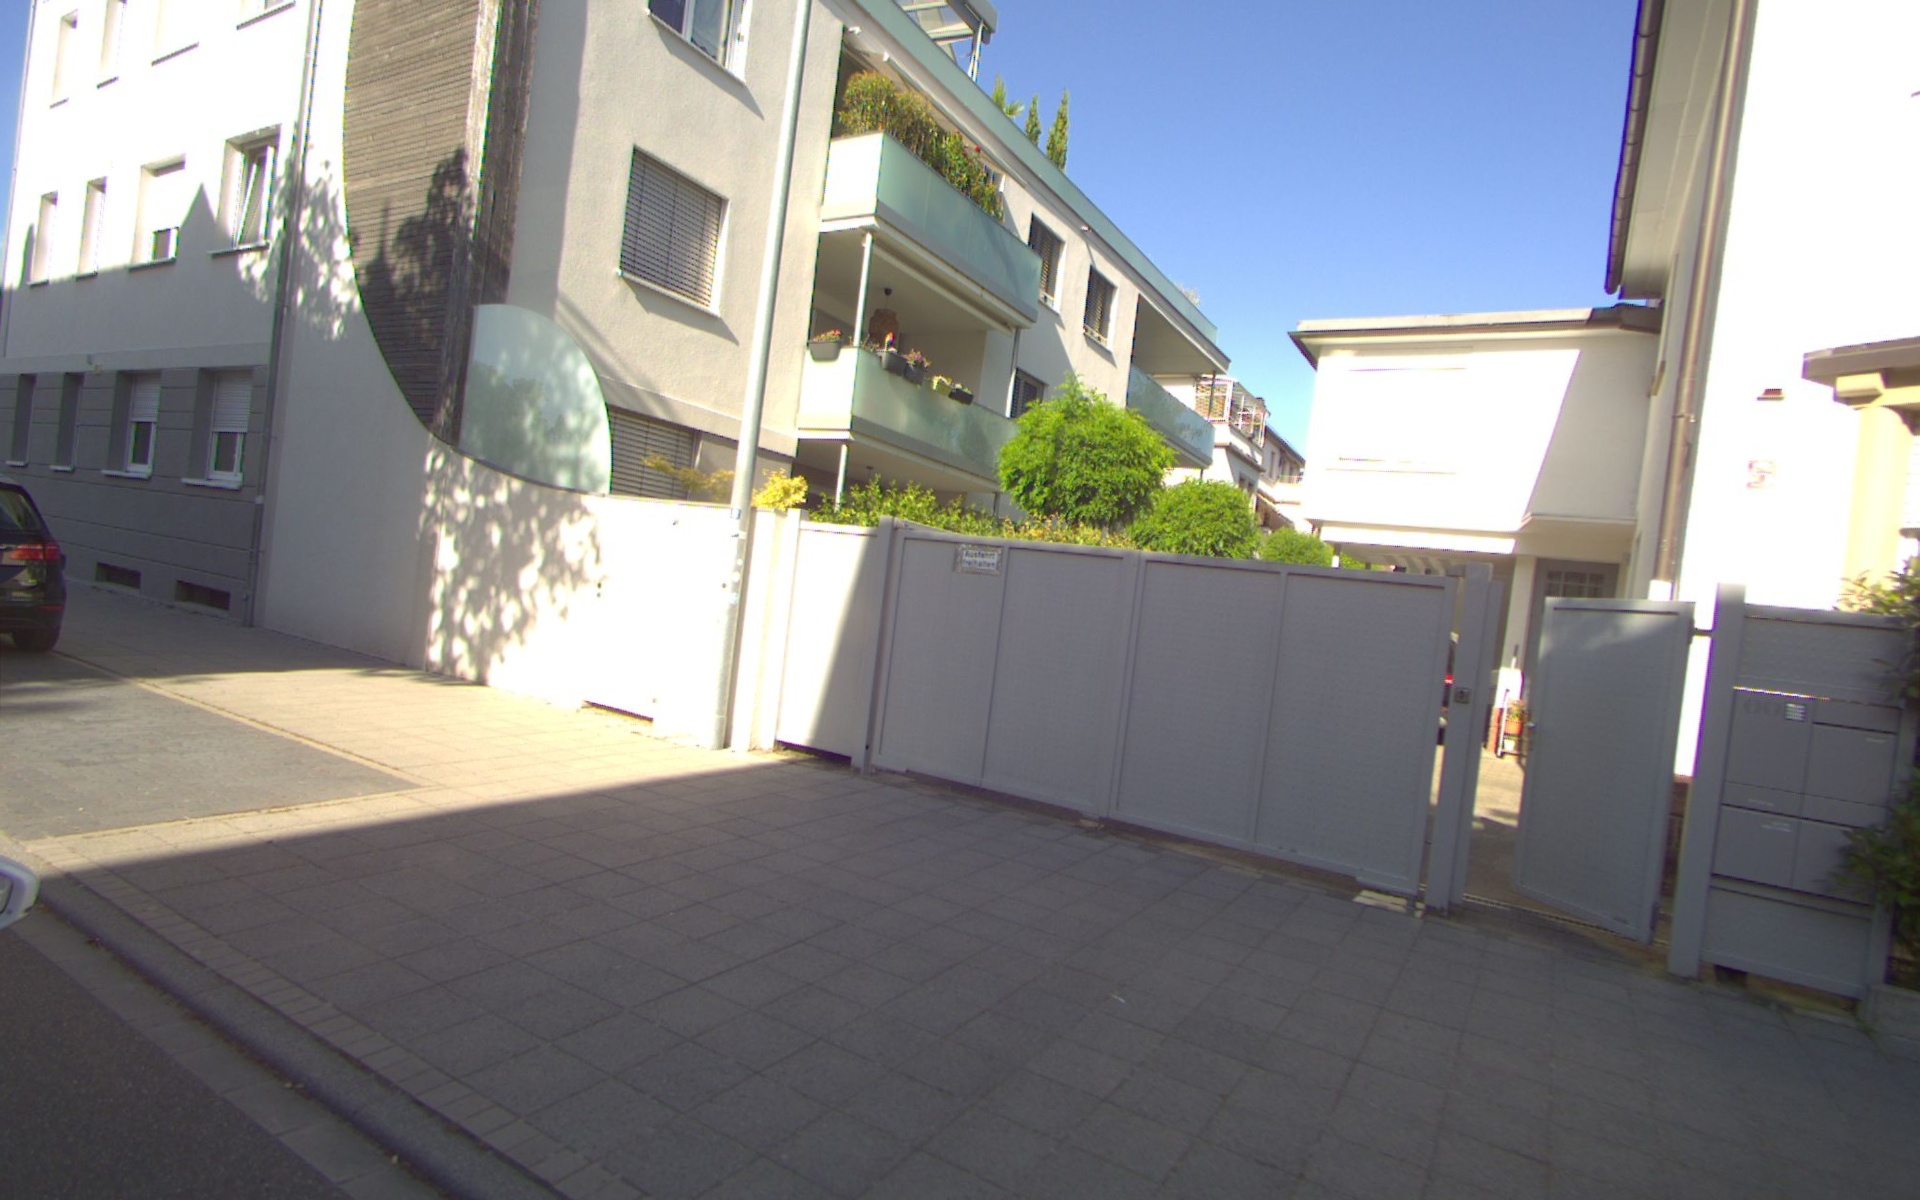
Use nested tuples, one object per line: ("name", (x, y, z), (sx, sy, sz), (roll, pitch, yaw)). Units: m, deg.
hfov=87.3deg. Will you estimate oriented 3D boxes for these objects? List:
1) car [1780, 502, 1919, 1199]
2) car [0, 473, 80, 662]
("car", (3.857, 0.960, 0.424), (5.113, 1.929, 1.872), (6, 1, 33))
("car", (-9.807, -0.480, 9.017), (4.109, 1.552, 1.737), (7, 3, 32))
